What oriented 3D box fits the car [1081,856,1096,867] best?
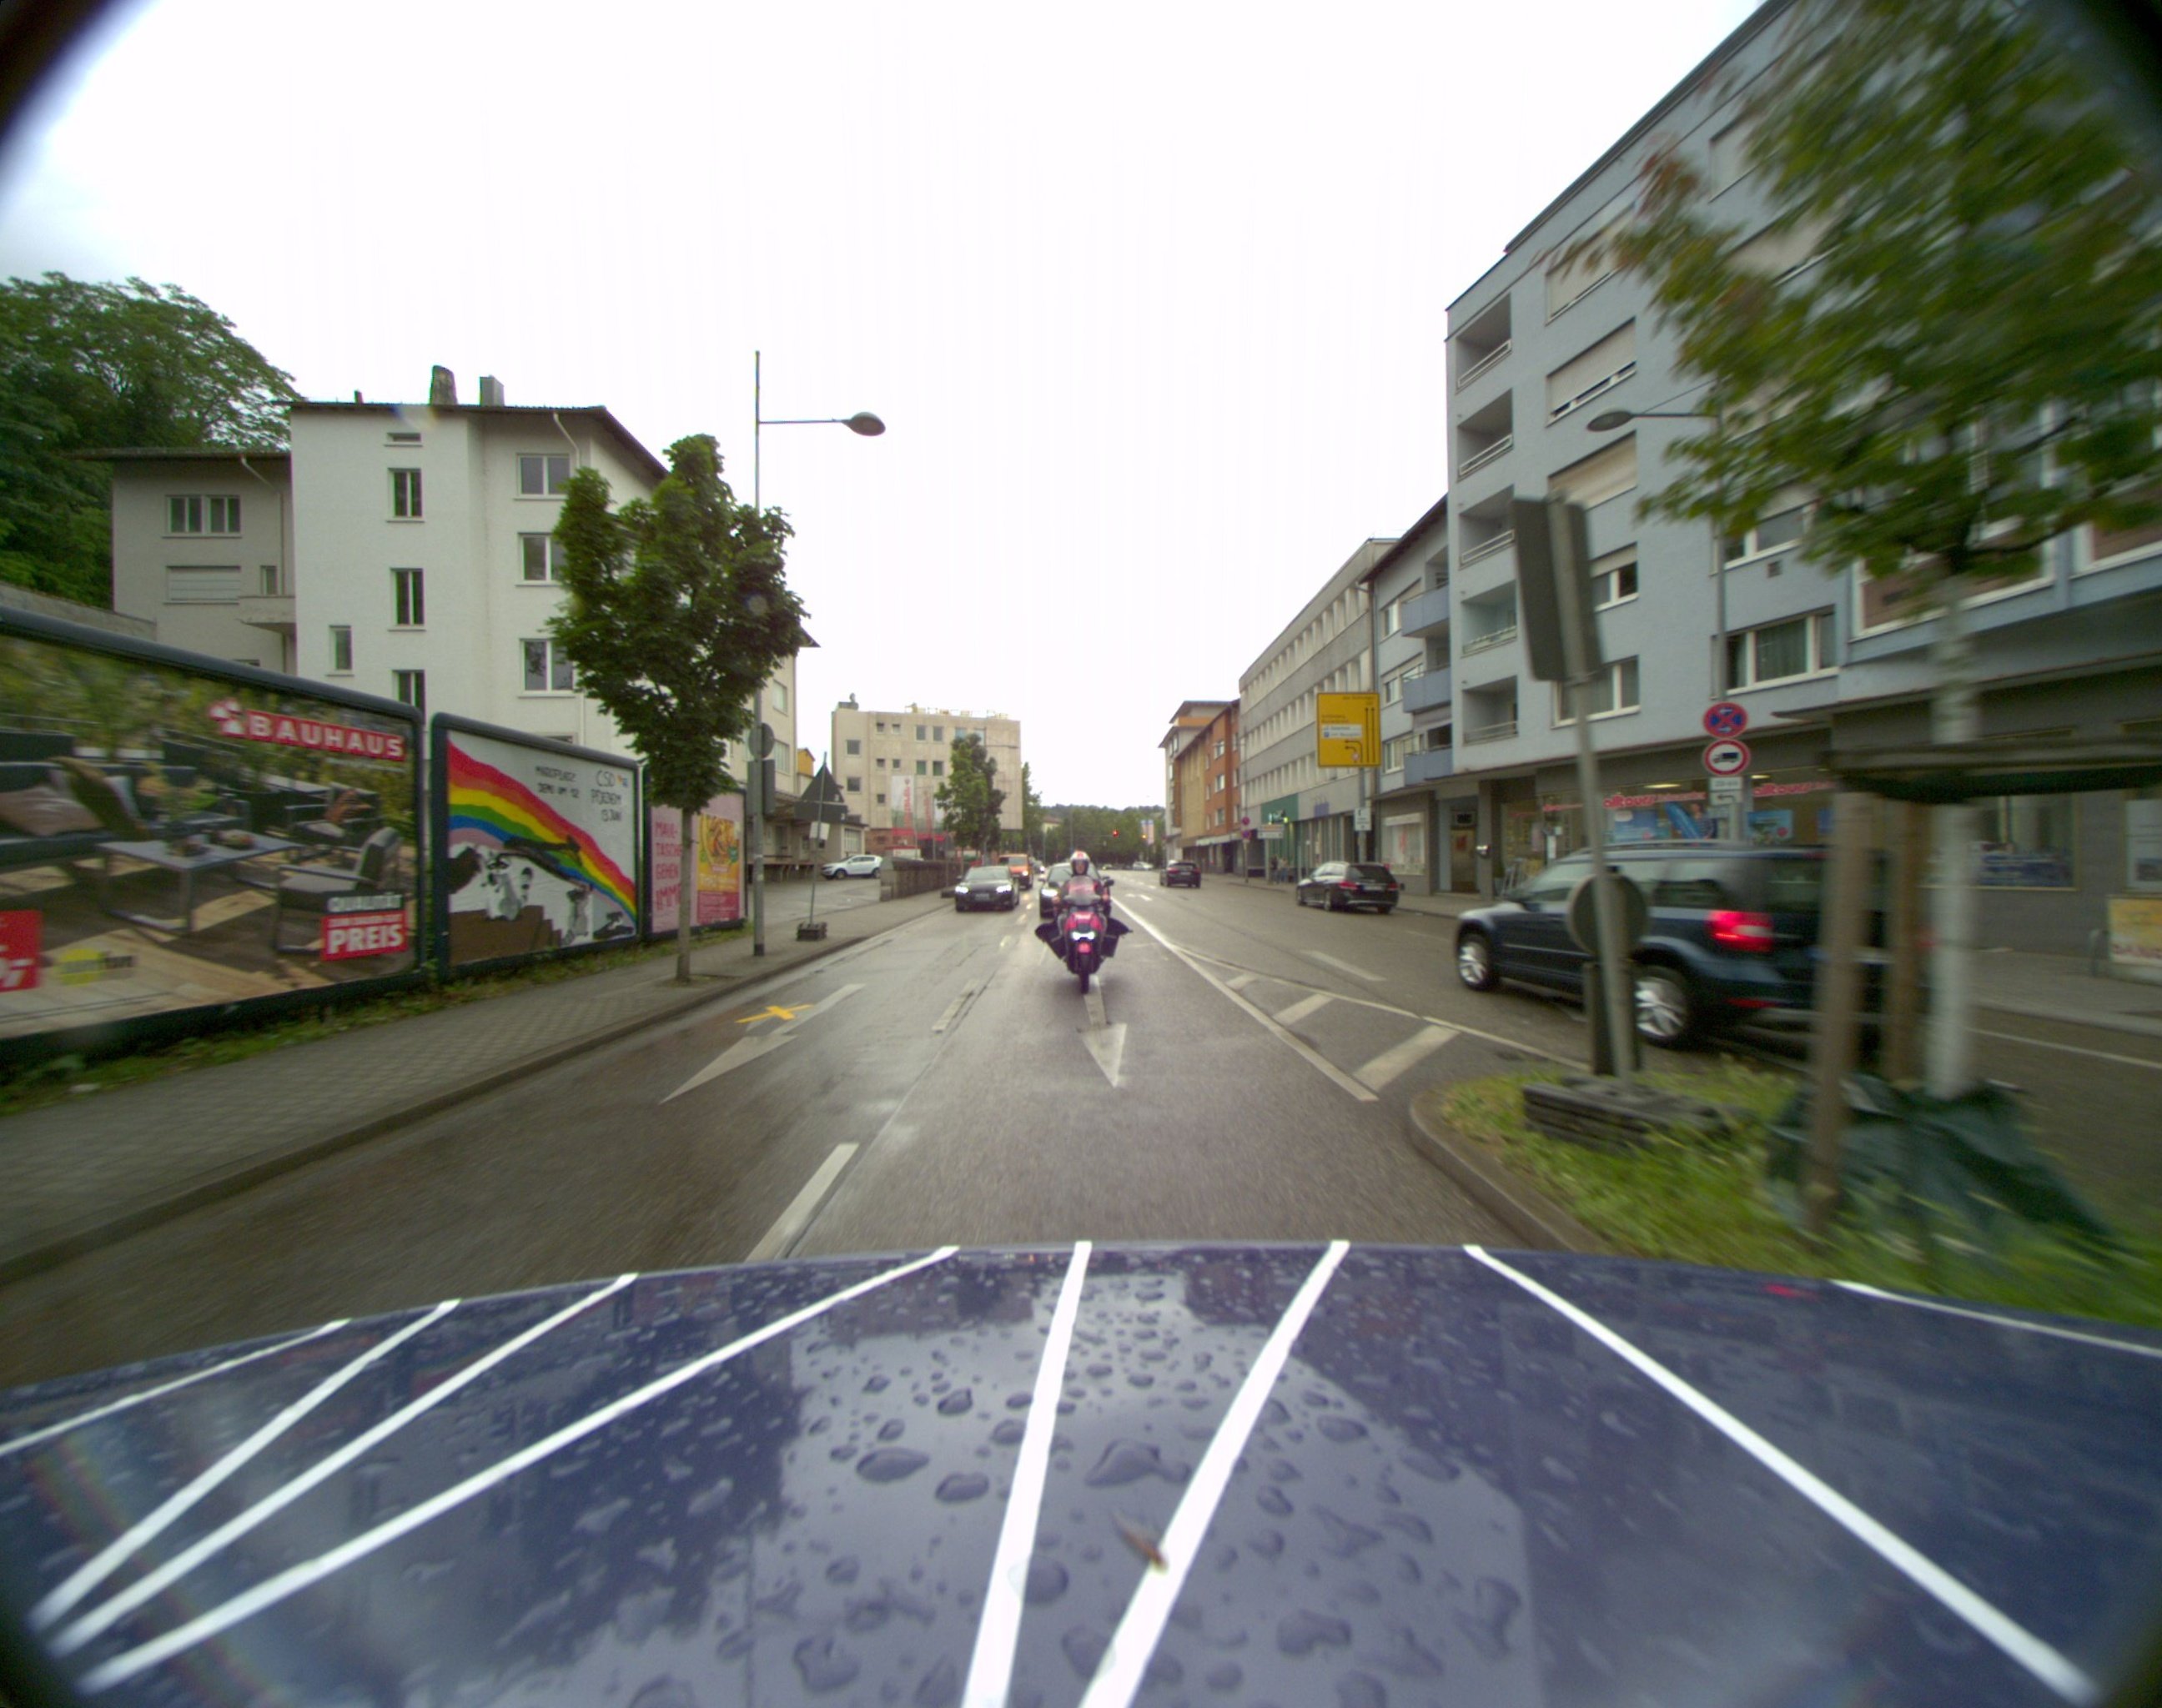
[{"bbox_3d":[1.158,1.213,117.347,1.759,1.604,4.215,1,-1,7],"label":"car"}]

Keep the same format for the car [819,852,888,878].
[{"bbox_3d":[-15.281,0.754,51.111,3.990,1.557,1.923,2,-5,-39],"label":"car"}]

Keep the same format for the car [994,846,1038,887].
[{"bbox_3d":[-3.584,0.682,42.558,2.107,2.077,5.540,-1,0,-2],"label":"car"}]

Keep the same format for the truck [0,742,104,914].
[{"bbox_3d":[-21.569,-0.517,12.186,2.637,3.197,6.931,1,0,4],"label":"truck"}]

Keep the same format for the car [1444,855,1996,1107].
[{"bbox_3d":[5.260,0.856,7.139,1.688,1.651,4.096,1,0,0],"label":"car"}]

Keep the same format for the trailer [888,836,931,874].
[{"bbox_3d":[-15.542,0.070,68.633,2.753,3.288,6.060,-1,0,-23],"label":"trailer"}]

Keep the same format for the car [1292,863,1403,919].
[{"bbox_3d":[8.105,1.058,23.621,1.712,1.459,4.829,2,0,0],"label":"car"}]

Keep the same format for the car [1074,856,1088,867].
[{"bbox_3d":[-0.010,0.962,98.383,1.737,1.431,4.413,0,0,-1],"label":"car"}]

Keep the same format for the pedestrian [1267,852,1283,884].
[{"bbox_3d":[11.372,0.818,44.549,0.576,1.778,0.826,-5,1,-1],"label":"pedestrian"}]

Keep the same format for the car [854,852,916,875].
[{"bbox_3d":[-14.295,0.696,55.527,4.008,1.573,1.767,2,-2,-37],"label":"car"}]

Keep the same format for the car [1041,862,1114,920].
[{"bbox_3d":[-0.089,1.021,22.442,1.896,1.396,4.360,-2,1,0],"label":"car"}]

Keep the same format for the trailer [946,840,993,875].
[{"bbox_3d":[-10.563,0.309,71.372,2.640,3.158,5.703,0,0,-27],"label":"trailer"}]

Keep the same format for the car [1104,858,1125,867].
[{"bbox_3d":[8.263,2.164,187.131,4.839,1.930,1.954,-4,-2,29],"label":"car"}]

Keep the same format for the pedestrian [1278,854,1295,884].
[{"bbox_3d":[12.002,0.858,44.430,0.631,1.665,0.908,-5,1,-2],"label":"pedestrian"}]

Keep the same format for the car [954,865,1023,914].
[{"bbox_3d":[-3.032,1.127,25.733,1.794,1.394,4.633,-3,0,-1],"label":"car"}]

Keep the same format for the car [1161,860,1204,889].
[{"bbox_3d":[5.466,1.060,41.457,1.725,1.415,4.165,2,0,-1],"label":"car"}]

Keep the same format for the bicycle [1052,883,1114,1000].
[{"bbox_3d":[0.039,1.084,10.267,0.717,1.298,2.427,-1,0,1],"label":"bicycle"}]

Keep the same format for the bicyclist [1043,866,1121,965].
[{"bbox_3d":[0.017,0.780,9.890,0.963,1.219,0.715,-1,1,1],"label":"bicyclist"}]

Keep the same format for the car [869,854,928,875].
[{"bbox_3d":[-14.893,0.854,62.072,4.284,1.639,1.863,1,-2,-31],"label":"car"}]

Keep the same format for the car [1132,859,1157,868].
[{"bbox_3d":[11.023,1.677,132.333,1.902,1.566,4.349,2,-1,-37],"label":"car"}]
